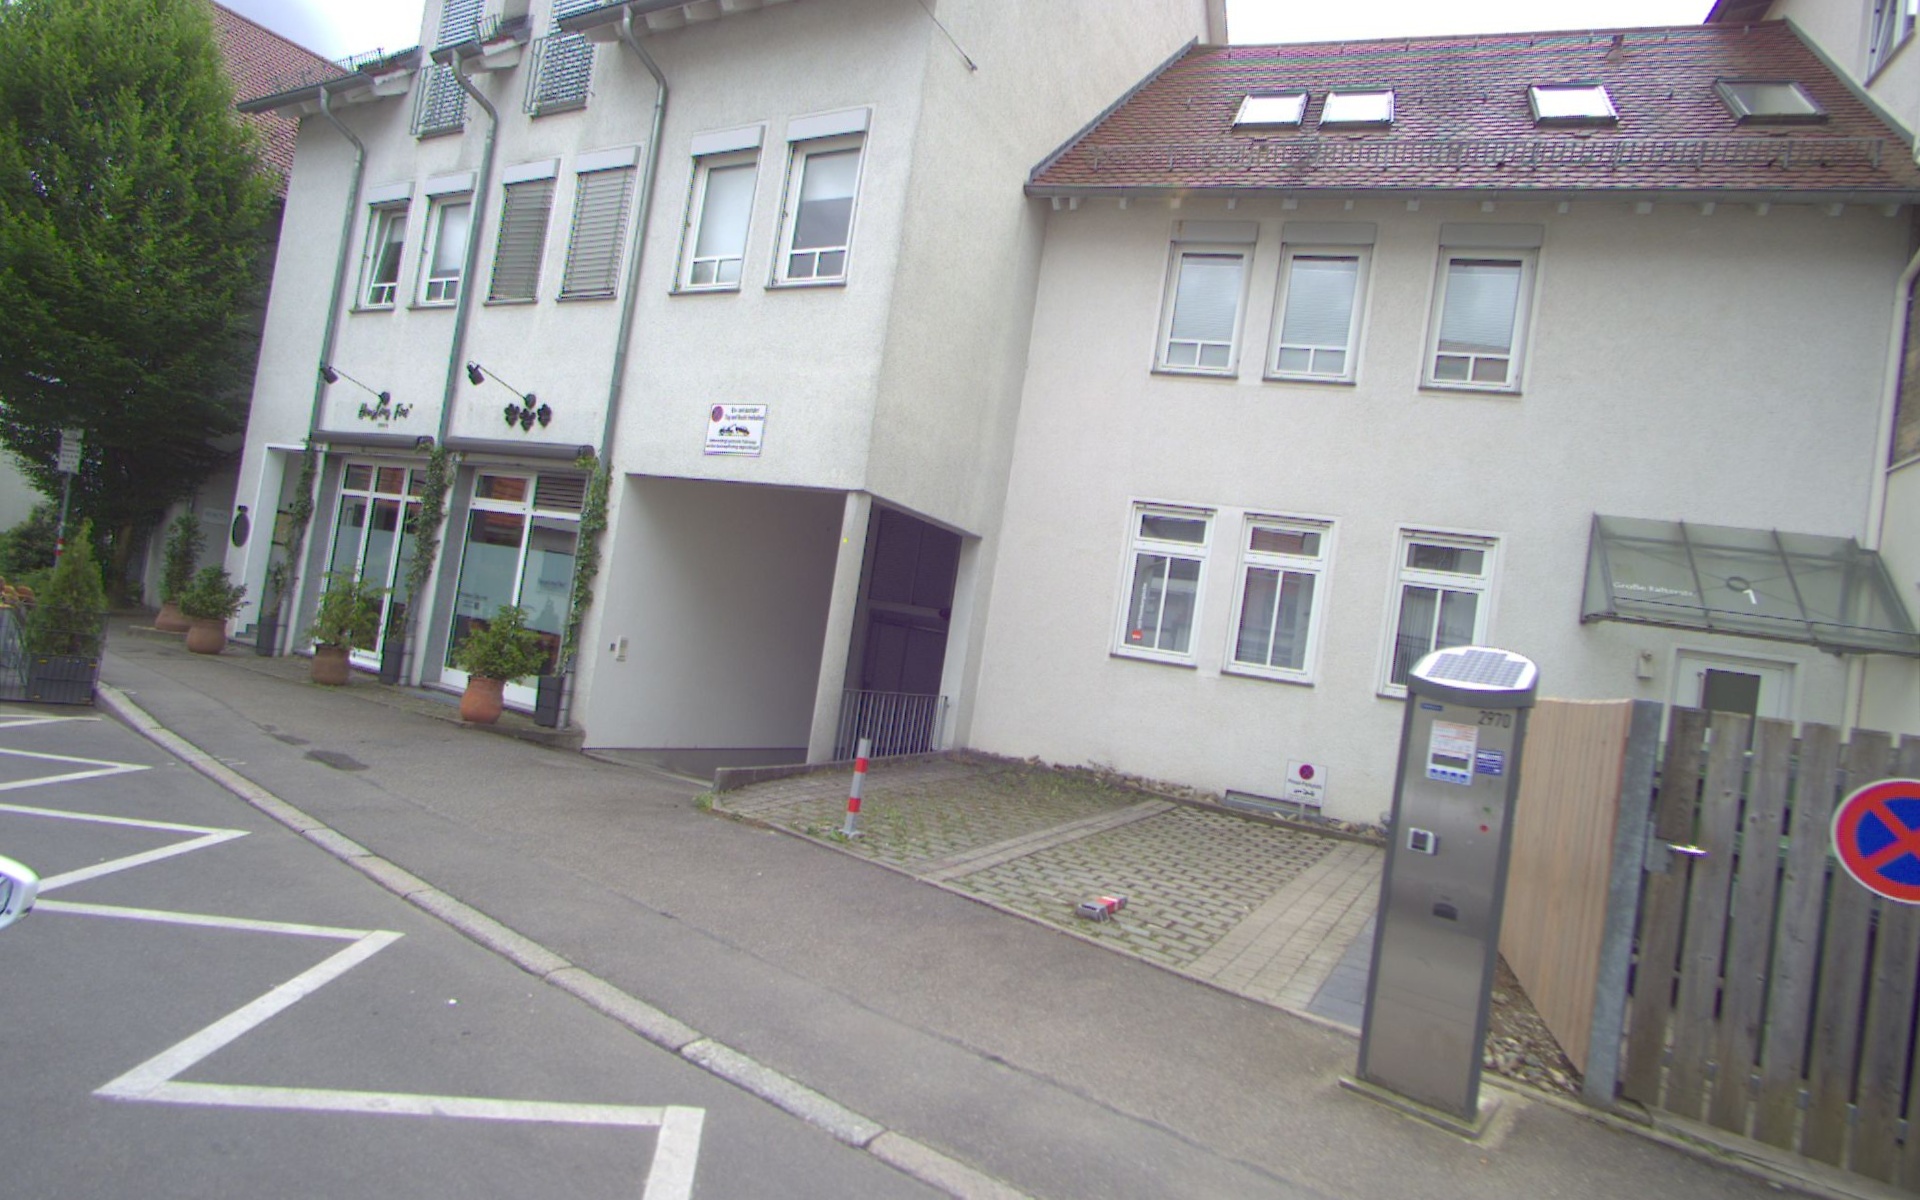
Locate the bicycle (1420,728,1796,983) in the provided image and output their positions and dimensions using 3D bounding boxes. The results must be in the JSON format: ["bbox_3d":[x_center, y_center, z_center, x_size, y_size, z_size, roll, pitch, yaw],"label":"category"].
[{"bbox_3d":[4.667,1.772,7.439,2.065,1.234,0.960,9,1,31],"label":"bicycle"}]
